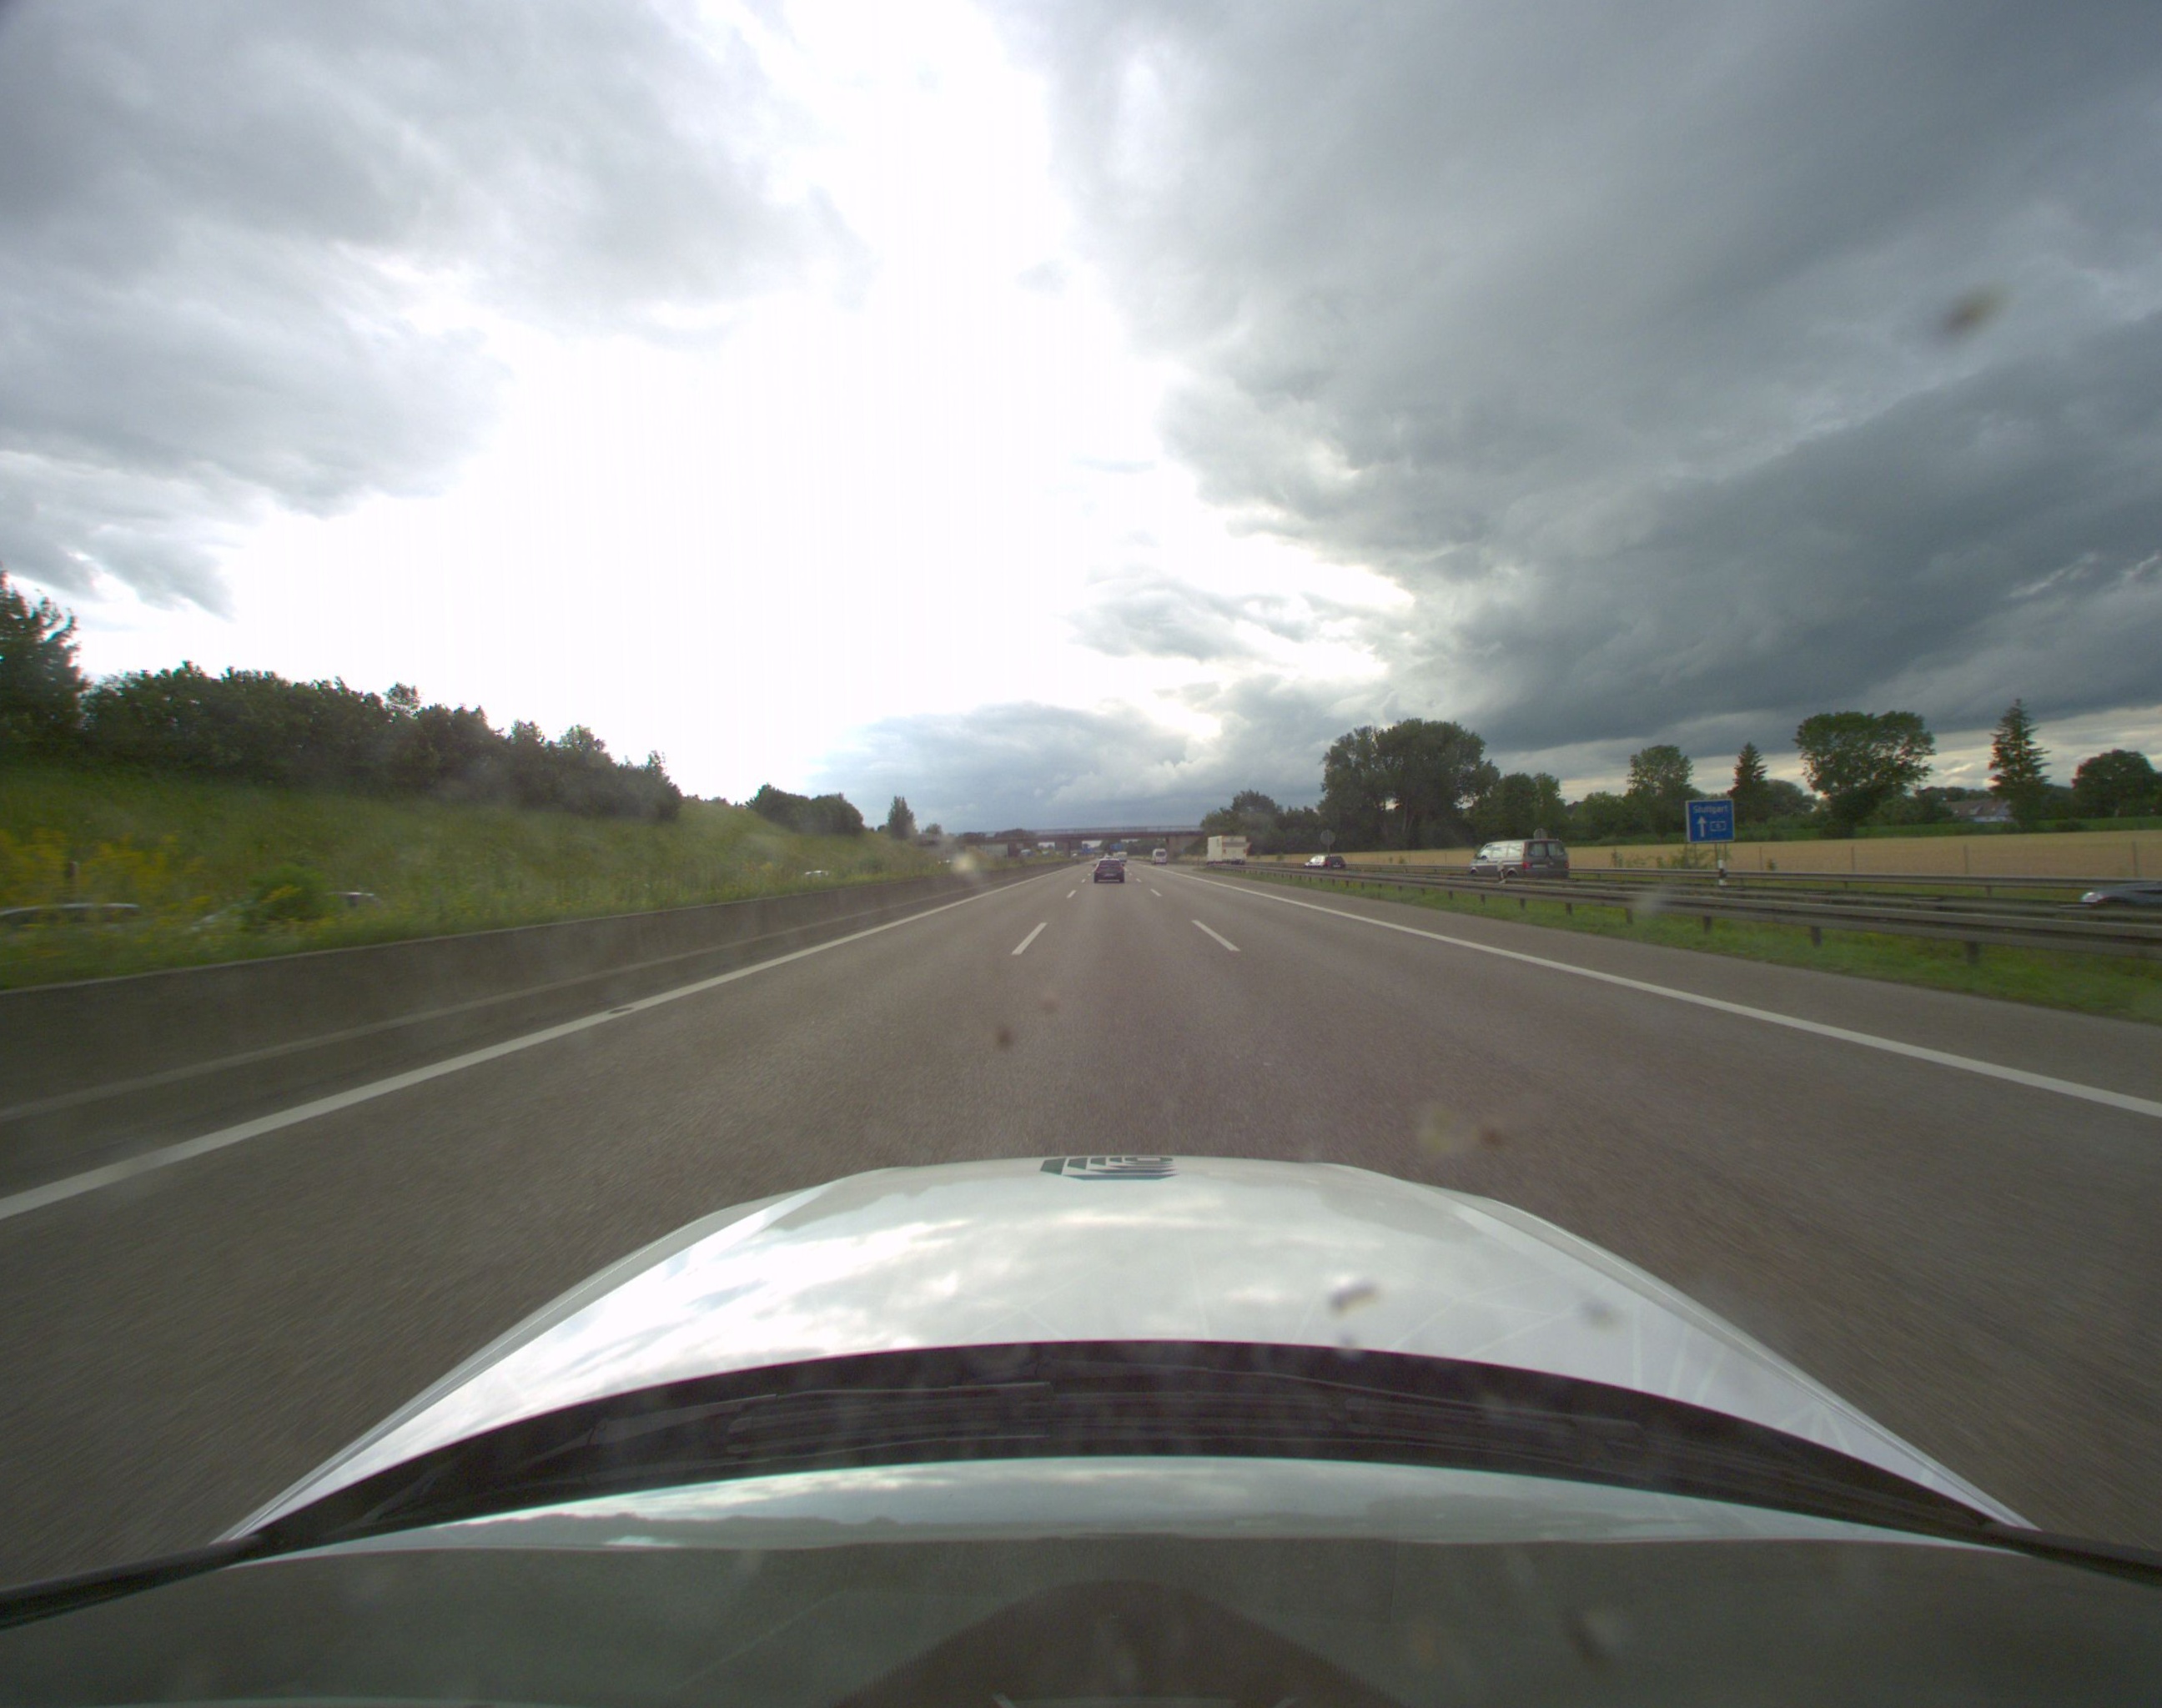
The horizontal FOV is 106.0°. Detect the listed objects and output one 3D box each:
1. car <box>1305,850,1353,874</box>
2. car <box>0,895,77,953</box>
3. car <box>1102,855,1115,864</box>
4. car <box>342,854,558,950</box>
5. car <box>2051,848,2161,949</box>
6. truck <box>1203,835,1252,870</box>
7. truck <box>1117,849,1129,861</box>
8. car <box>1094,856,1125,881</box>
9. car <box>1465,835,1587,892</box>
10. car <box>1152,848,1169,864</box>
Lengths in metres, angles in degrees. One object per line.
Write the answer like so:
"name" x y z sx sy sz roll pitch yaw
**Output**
"car" 18.035 0.579 59.479 1.912 1.550 4.921 -2 0 -1
"car" -21.316 1.365 14.574 1.623 1.039 4.003 -1 0 2
"car" 4.442 0.903 131.686 1.986 1.298 4.001 -2 0 1
"car" -15.091 1.051 19.812 1.986 2.013 4.002 -2 0 2
"car" 16.791 0.645 11.075 1.744 1.484 4.593 0 0 0
"truck" 15.441 -0.122 86.589 3.098 3.471 8.879 0 0 -4
"truck" 10.418 0.338 203.089 2.700 2.964 12.450 0 0 2
"car" 1.687 0.831 48.360 1.737 1.389 4.002 -1 0 2
"car" 17.765 0.356 32.852 2.137 2.063 4.956 -1 0 -1
"car" 13.201 0.362 135.551 2.213 2.568 6.258 -1 0 2
